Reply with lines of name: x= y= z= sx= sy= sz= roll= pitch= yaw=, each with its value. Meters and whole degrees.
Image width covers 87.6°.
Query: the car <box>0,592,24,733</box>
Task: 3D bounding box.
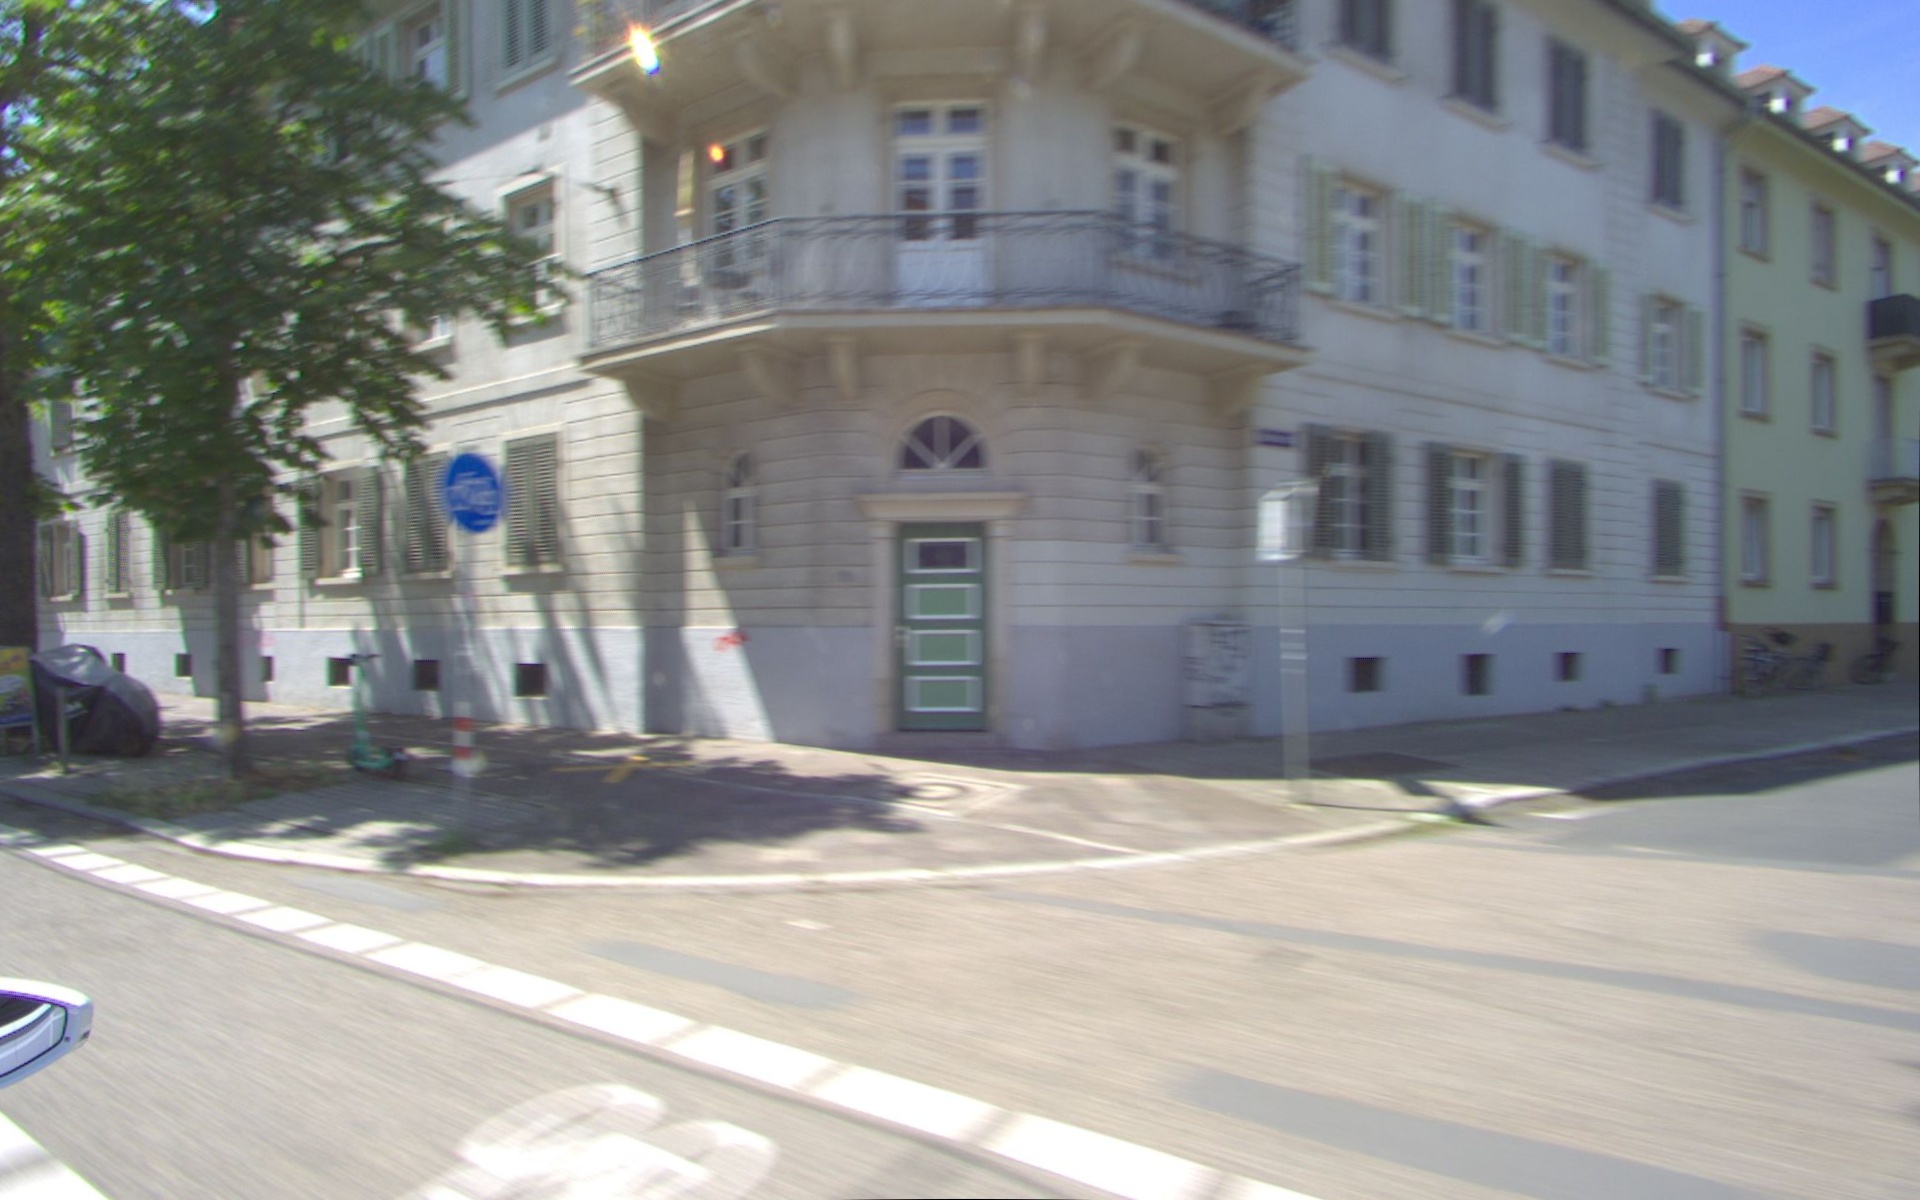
car: x=-16.286 y=0.942 z=15.257 sx=4.906 sy=2.039 sz=1.856 roll=-1 pitch=-2 yaw=33

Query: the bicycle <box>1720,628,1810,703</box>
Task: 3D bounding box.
bicycle: x=15.031 y=1.181 z=18.669 sx=2.693 sy=1.279 sz=0.666 roll=1 pitch=0 yaw=-37

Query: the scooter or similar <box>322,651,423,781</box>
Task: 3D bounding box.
scooter or similar: x=-5.668 y=1.085 z=9.648 sx=1.234 sy=1.176 sz=0.295 roll=-1 pitch=-1 yaw=32

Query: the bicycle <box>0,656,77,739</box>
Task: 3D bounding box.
bicycle: x=-12.716 y=1.295 z=13.124 sx=0.359 sy=1.035 sz=1.696 roll=-1 pitch=0 yaw=26
